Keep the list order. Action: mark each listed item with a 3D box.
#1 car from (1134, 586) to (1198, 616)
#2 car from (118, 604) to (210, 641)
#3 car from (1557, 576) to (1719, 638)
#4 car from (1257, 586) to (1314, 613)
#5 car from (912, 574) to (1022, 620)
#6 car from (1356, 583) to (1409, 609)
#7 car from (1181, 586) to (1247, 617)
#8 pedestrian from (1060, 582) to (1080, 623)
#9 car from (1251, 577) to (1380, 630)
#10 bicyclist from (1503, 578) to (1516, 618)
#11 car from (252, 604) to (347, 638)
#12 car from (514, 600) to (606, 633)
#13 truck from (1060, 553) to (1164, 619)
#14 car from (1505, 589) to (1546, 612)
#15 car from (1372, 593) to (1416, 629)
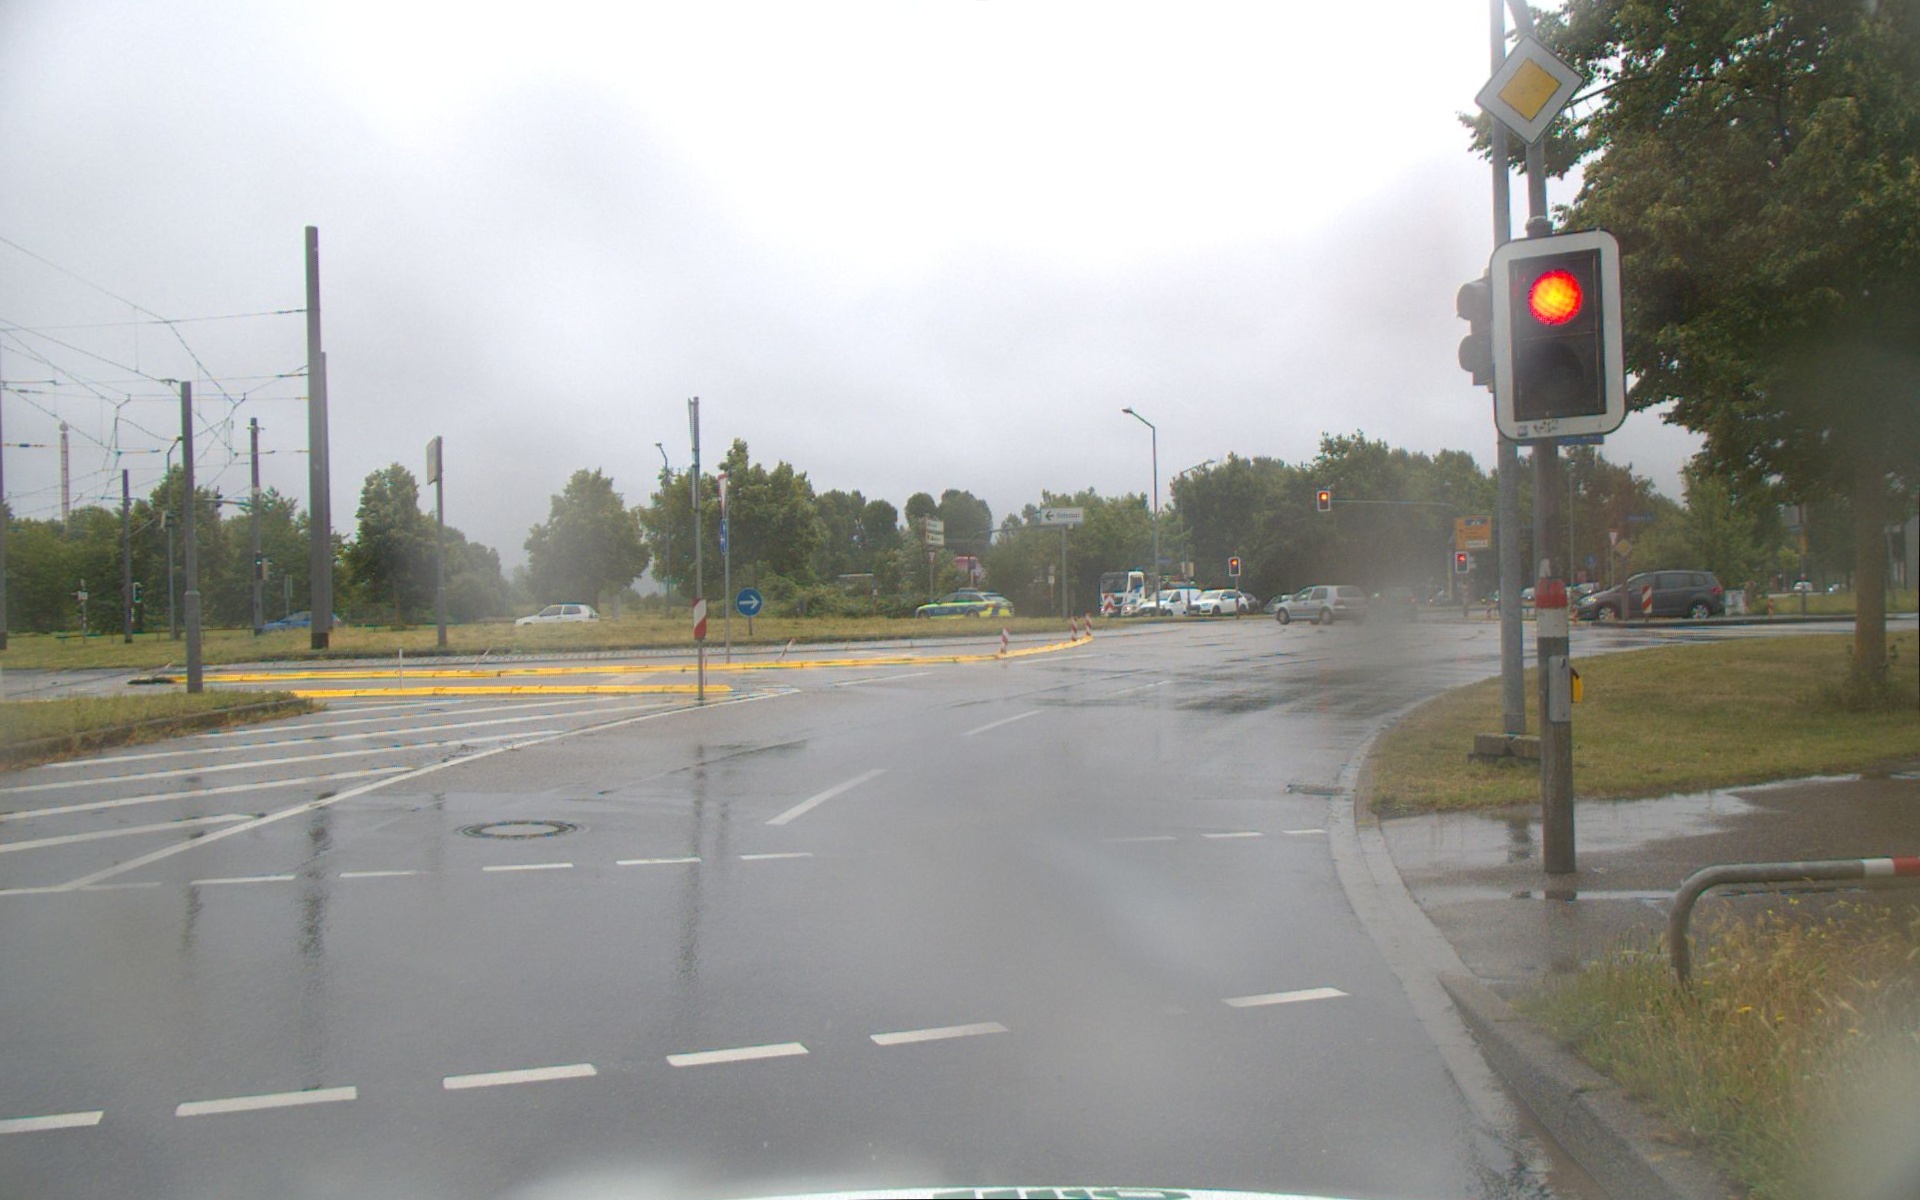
[{"bbox_3d":[12.034,0.067,96.379,1.769,1.691,4.112,0,-1,40],"label":"car"},{"bbox_3d":[-40.508,1.169,84.269,1.644,1.848,3.994,1,-1,28],"label":"car"},{"bbox_3d":[21.812,0.221,53.417,4.660,1.884,2.001,1,-1,18],"label":"car"},{"bbox_3d":[21.419,-0.058,108.753,1.769,1.691,4.386,-1,0,40],"label":"car"},{"bbox_3d":[0.254,-0.112,70.696,1.986,1.883,4.697,-1,0,-45],"label":"car"},{"bbox_3d":[28.945,-0.264,113.214,1.769,1.691,4.386,-1,0,40],"label":"car"},{"bbox_3d":[14.576,0.095,94.819,1.769,1.691,4.386,0,-1,40],"label":"car"},{"bbox_3d":[3.614,0.081,54.396,0.445,1.327,0.484,-1,0,38],"label":"pedestrian"},{"bbox_3d":[13.334,0.125,62.289,1.975,1.884,4.721,2,-1,-33],"label":"car"},{"bbox_3d":[24.257,-0.091,73.031,0.484,1.772,0.591,1,-1,13],"label":"bicyclist"},{"bbox_3d":[-31.048,0.966,77.824,3.907,1.479,1.618,-1,0,-14],"label":"car"},{"bbox_3d":[-18.950,0.792,78.401,3.891,1.479,1.624,-1,0,2],"label":"car"},{"bbox_3d":[6.932,-0.557,74.294,2.411,2.733,8.058,1,-1,22],"label":"truck"},{"bbox_3d":[45.749,0.049,133.771,1.769,1.691,3.979,0,-1,40],"label":"car"},{"bbox_3d":[18.706,0.449,71.352,1.583,1.479,3.991,-1,0,11],"label":"car"}]
